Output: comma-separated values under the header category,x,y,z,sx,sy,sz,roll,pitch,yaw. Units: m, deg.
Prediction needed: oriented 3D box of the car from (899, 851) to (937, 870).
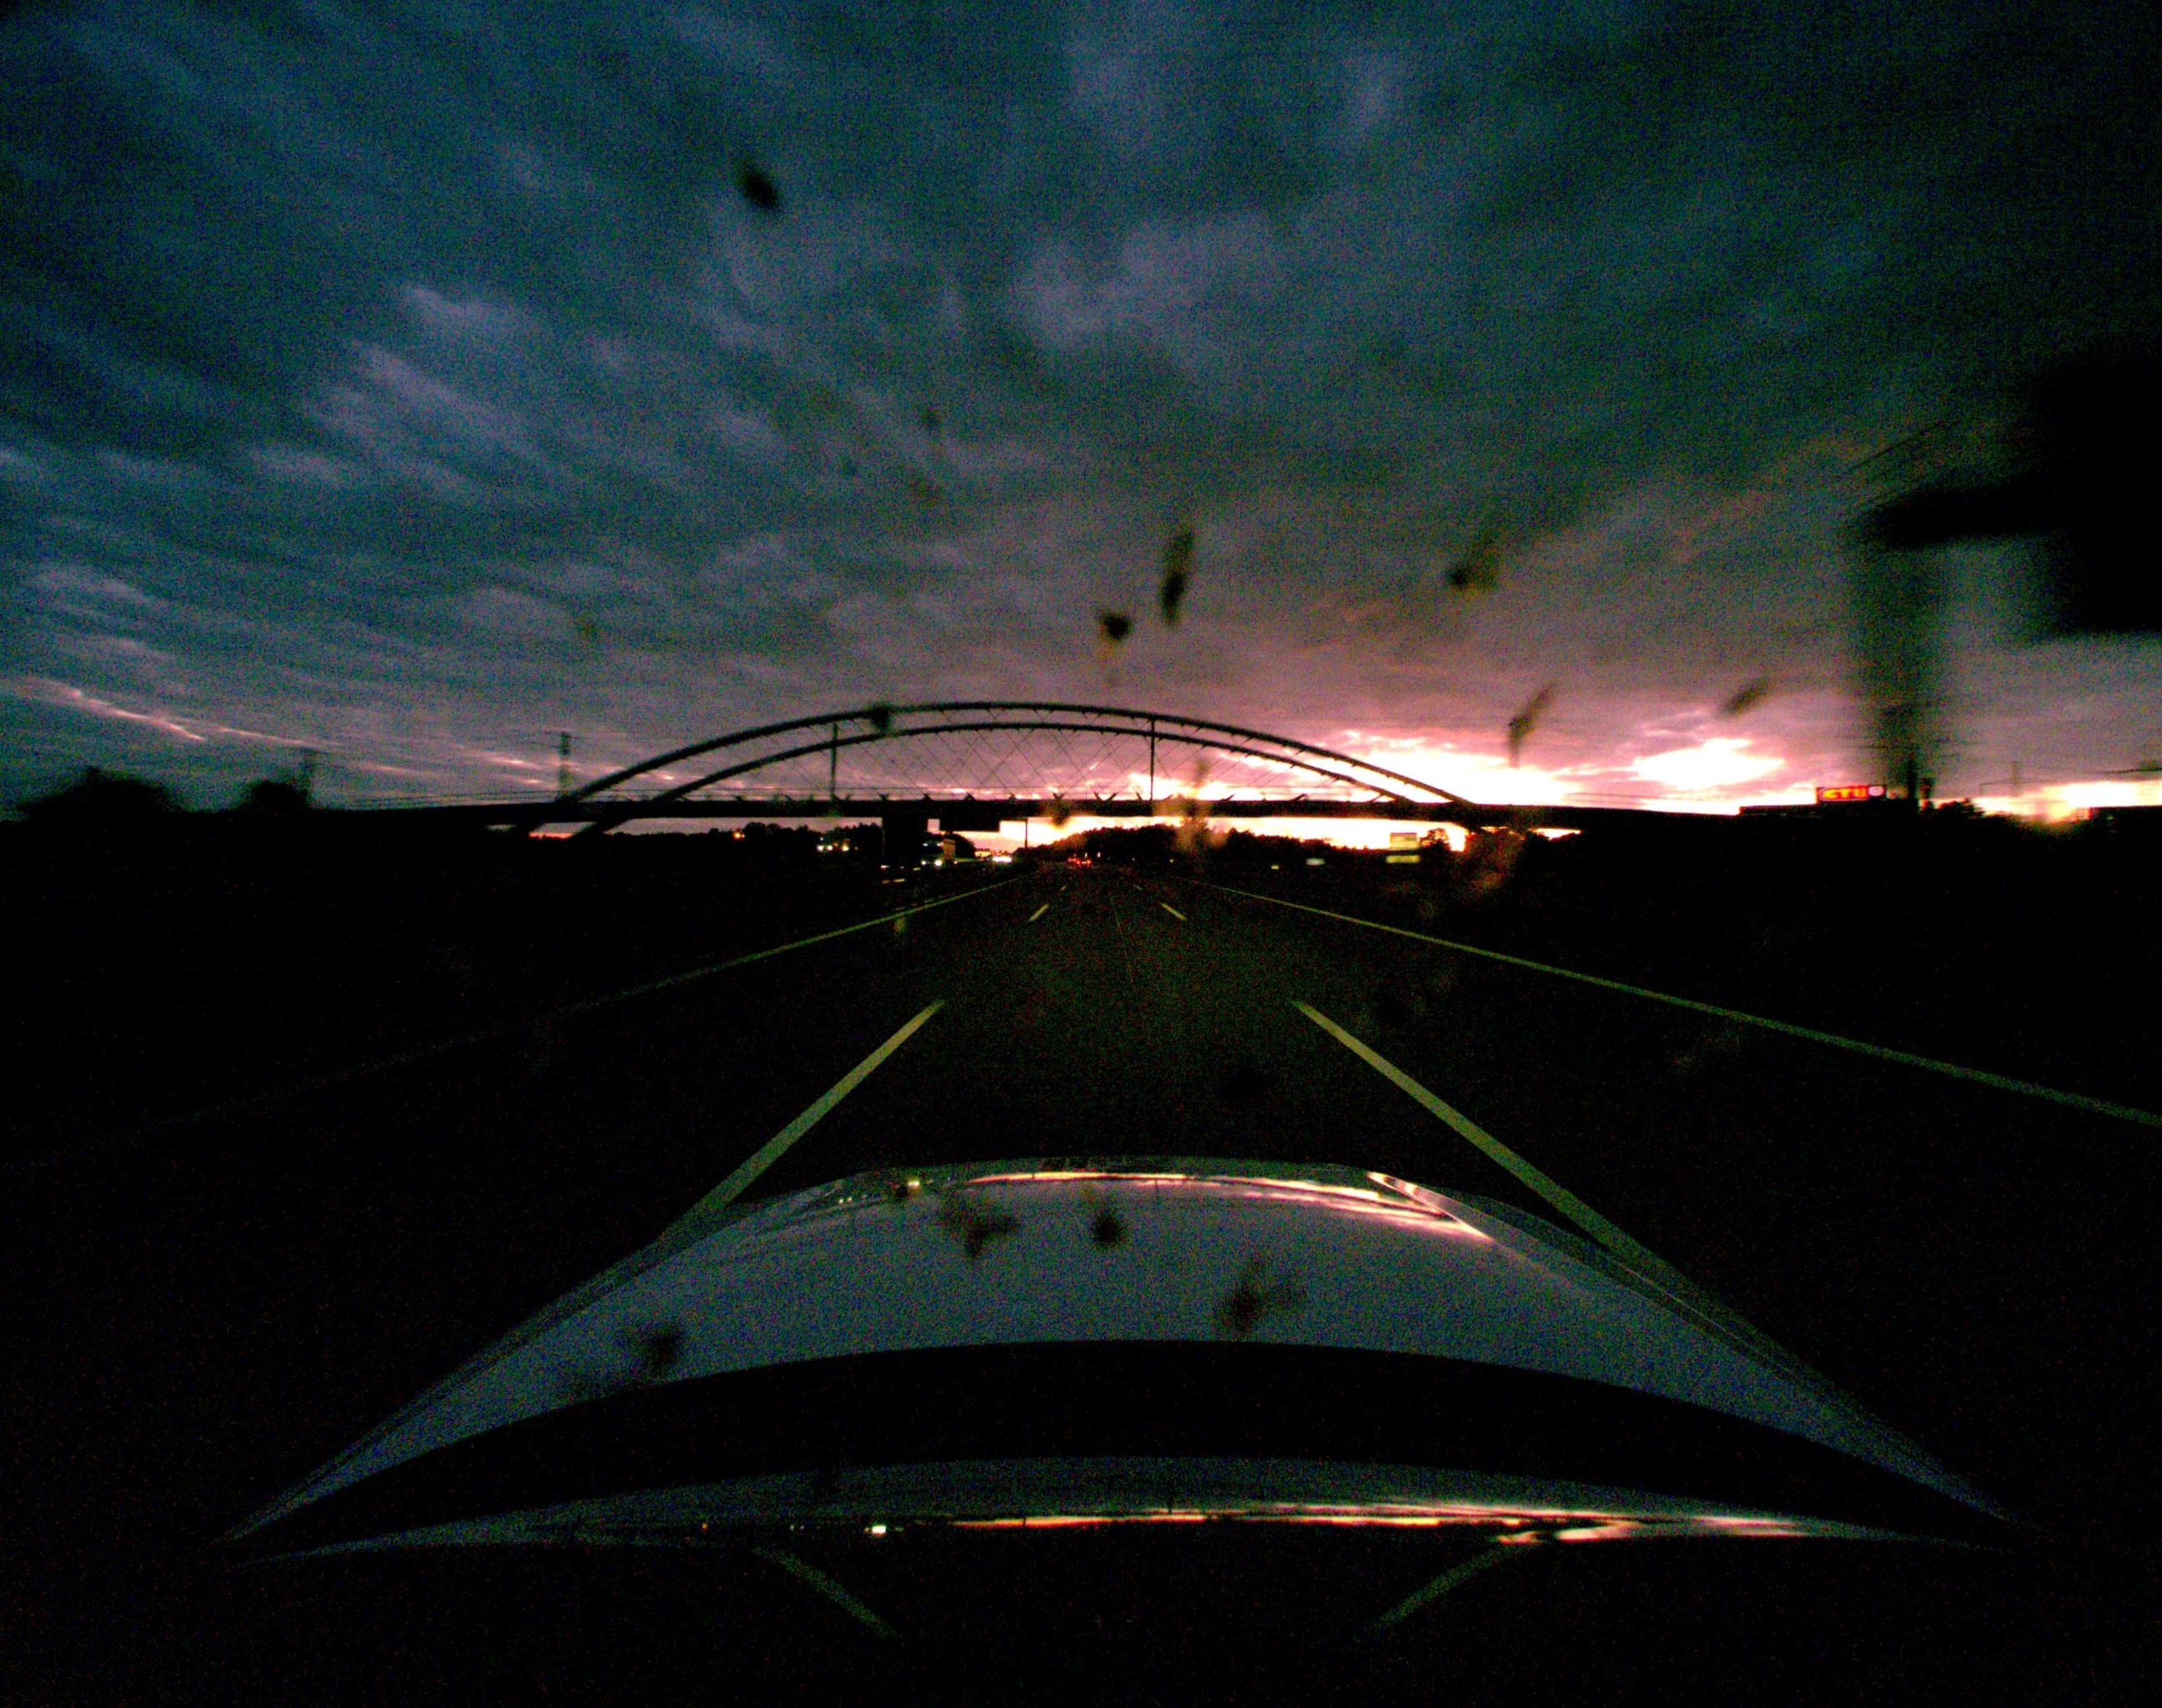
category,x,y,z,sx,sy,sz,roll,pitch,yaw
car,-12.938,0.486,64.931,1.986,1.404,4.331,-1,0,2

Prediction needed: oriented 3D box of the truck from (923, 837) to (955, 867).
category,x,y,z,sx,sy,sz,roll,pitch,yaw
truck,-20.585,-0.296,118.706,2.817,4.048,12.205,-1,0,-2

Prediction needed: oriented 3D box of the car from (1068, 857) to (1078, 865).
category,x,y,z,sx,sy,sz,roll,pitch,yaw
car,-1.673,1.462,167.991,1.682,1.401,3.411,-1,-2,3

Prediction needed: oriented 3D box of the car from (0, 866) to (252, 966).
category,x,y,z,sx,sy,sz,roll,pitch,yaw
car,-16.739,0.946,13.243,1.986,1.404,4.331,-1,0,2

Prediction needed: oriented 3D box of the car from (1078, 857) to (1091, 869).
category,x,y,z,sx,sy,sz,roll,pitch,yaw
car,0.447,1.135,103.996,1.684,1.401,3.407,0,-2,0
